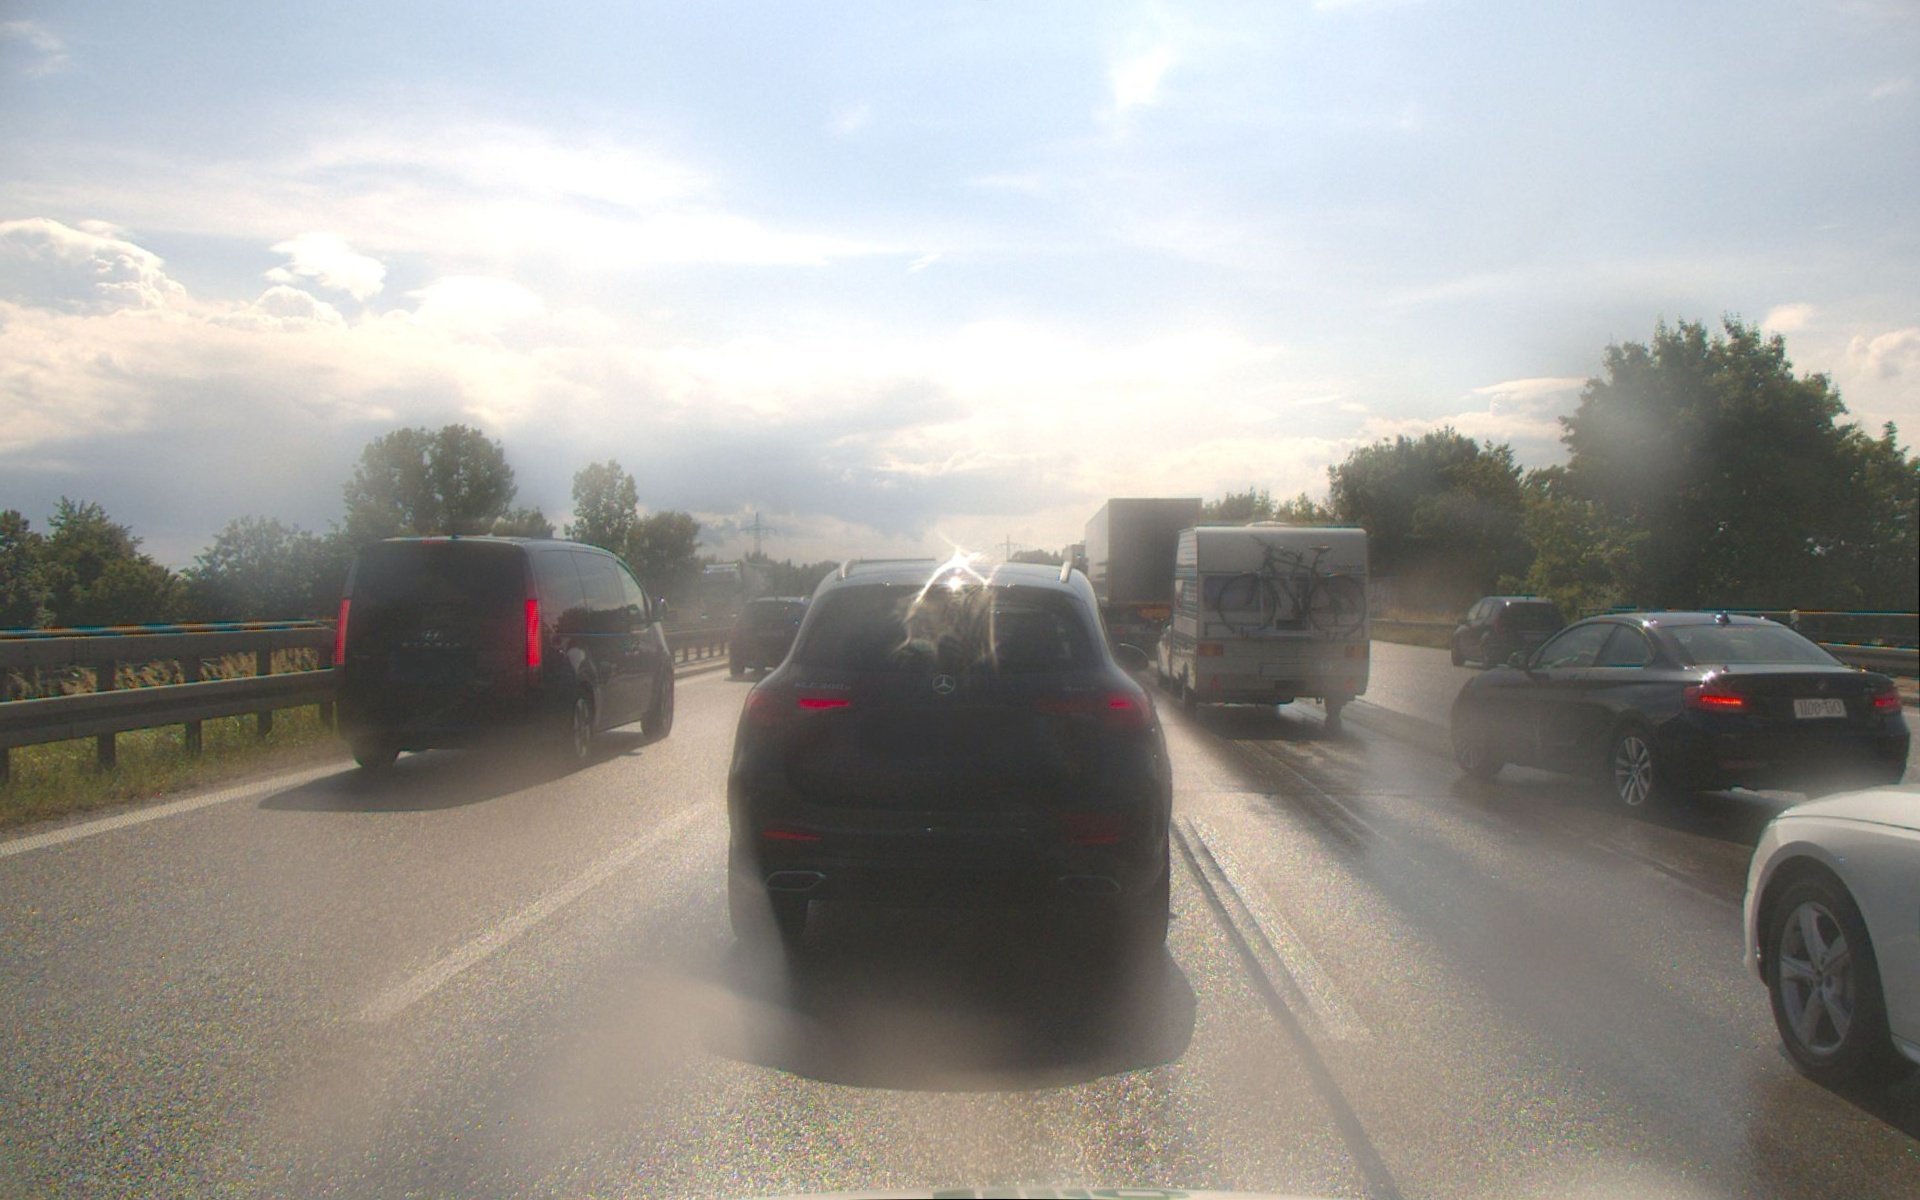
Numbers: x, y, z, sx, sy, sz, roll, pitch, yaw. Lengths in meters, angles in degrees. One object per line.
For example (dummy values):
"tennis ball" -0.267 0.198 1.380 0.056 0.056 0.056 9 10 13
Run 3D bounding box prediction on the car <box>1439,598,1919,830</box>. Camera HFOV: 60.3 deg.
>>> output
"car" 5.530 0.746 12.978 1.814 1.489 4.247 0 0 -8

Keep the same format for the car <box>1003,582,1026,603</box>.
"car" 4.801 -0.638 146.242 1.838 1.791 4.000 1 0 0

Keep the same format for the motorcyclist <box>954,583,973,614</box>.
"motorcyclist" 0.179 -0.078 95.365 1.041 1.748 0.785 0 0 3

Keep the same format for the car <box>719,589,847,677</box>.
"car" -3.242 0.569 31.090 1.720 1.543 4.210 0 0 3

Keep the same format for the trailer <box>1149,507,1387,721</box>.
"trailer" 4.063 0.172 23.060 2.325 2.526 6.525 1 0 2

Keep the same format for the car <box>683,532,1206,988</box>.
"car" 0.029 0.597 8.380 1.952 1.690 4.407 0 0 2

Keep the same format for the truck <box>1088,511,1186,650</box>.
"truck" 5.641 -0.609 53.400 2.932 4.239 5.243 1 0 4

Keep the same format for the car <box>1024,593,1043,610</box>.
"car" 8.009 0.151 179.985 1.838 1.791 4.000 1 0 0

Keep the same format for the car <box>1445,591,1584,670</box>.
"car" 12.015 0.630 36.111 1.810 1.596 4.001 1 0 2

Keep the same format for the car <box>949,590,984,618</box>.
"car" 0.449 0.261 107.577 1.952 1.644 4.002 4 0 3

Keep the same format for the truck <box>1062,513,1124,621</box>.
"truck" 6.309 -1.510 79.338 2.450 4.914 7.544 1 0 1

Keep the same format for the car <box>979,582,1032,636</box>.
"car" 1.847 0.328 65.684 1.952 2.049 4.002 1 0 3

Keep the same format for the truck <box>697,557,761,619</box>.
"truck" -15.131 -0.702 108.961 2.802 3.888 7.879 0 -1 2

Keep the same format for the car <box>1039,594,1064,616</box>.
"car" 7.771 0.397 140.272 1.838 1.791 4.000 1 0 0

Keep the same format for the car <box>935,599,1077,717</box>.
"car" 0.671 0.695 22.009 1.720 1.411 3.947 0 0 3

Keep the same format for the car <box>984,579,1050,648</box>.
"car" 1.920 0.426 54.570 1.952 2.048 4.002 4 0 3

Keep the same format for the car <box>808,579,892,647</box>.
"car" -2.992 0.345 45.824 1.952 1.750 4.000 1 0 1

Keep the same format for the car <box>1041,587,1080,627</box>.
"car" 5.361 0.348 88.459 1.952 2.049 4.002 2 0 3

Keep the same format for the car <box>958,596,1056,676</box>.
"car" 0.958 0.654 32.186 1.768 1.432 4.001 1 0 3

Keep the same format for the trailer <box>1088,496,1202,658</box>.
"trailer" 5.200 -0.600 47.841 2.943 4.239 8.540 1 0 5

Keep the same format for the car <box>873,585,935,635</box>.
"car" -2.139 0.370 63.940 1.952 1.802 4.002 3 0 3

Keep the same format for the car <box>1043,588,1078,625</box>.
"car" 6.039 0.379 99.378 1.952 2.048 4.002 4 0 3

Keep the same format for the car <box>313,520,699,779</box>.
"car" -4.021 0.380 15.747 1.952 2.049 5.271 0 0 3

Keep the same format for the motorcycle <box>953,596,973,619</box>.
"motorcycle" 0.177 0.415 95.406 1.051 1.293 2.691 0 0 3

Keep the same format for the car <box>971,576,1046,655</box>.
"car" 1.388 0.409 45.803 1.952 2.049 4.002 1 0 3

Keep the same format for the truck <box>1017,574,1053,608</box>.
"truck" 9.261 -1.102 205.708 3.765 4.087 11.218 1 0 -1

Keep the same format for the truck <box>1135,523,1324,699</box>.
"truck" 4.226 0.161 26.936 2.325 2.520 5.758 1 0 2

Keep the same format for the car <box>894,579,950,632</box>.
"car" -1.597 0.218 70.595 1.952 2.048 4.002 4 0 3

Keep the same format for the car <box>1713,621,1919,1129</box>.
"car" 3.692 0.776 3.697 1.790 1.450 4.508 0 -1 -3
